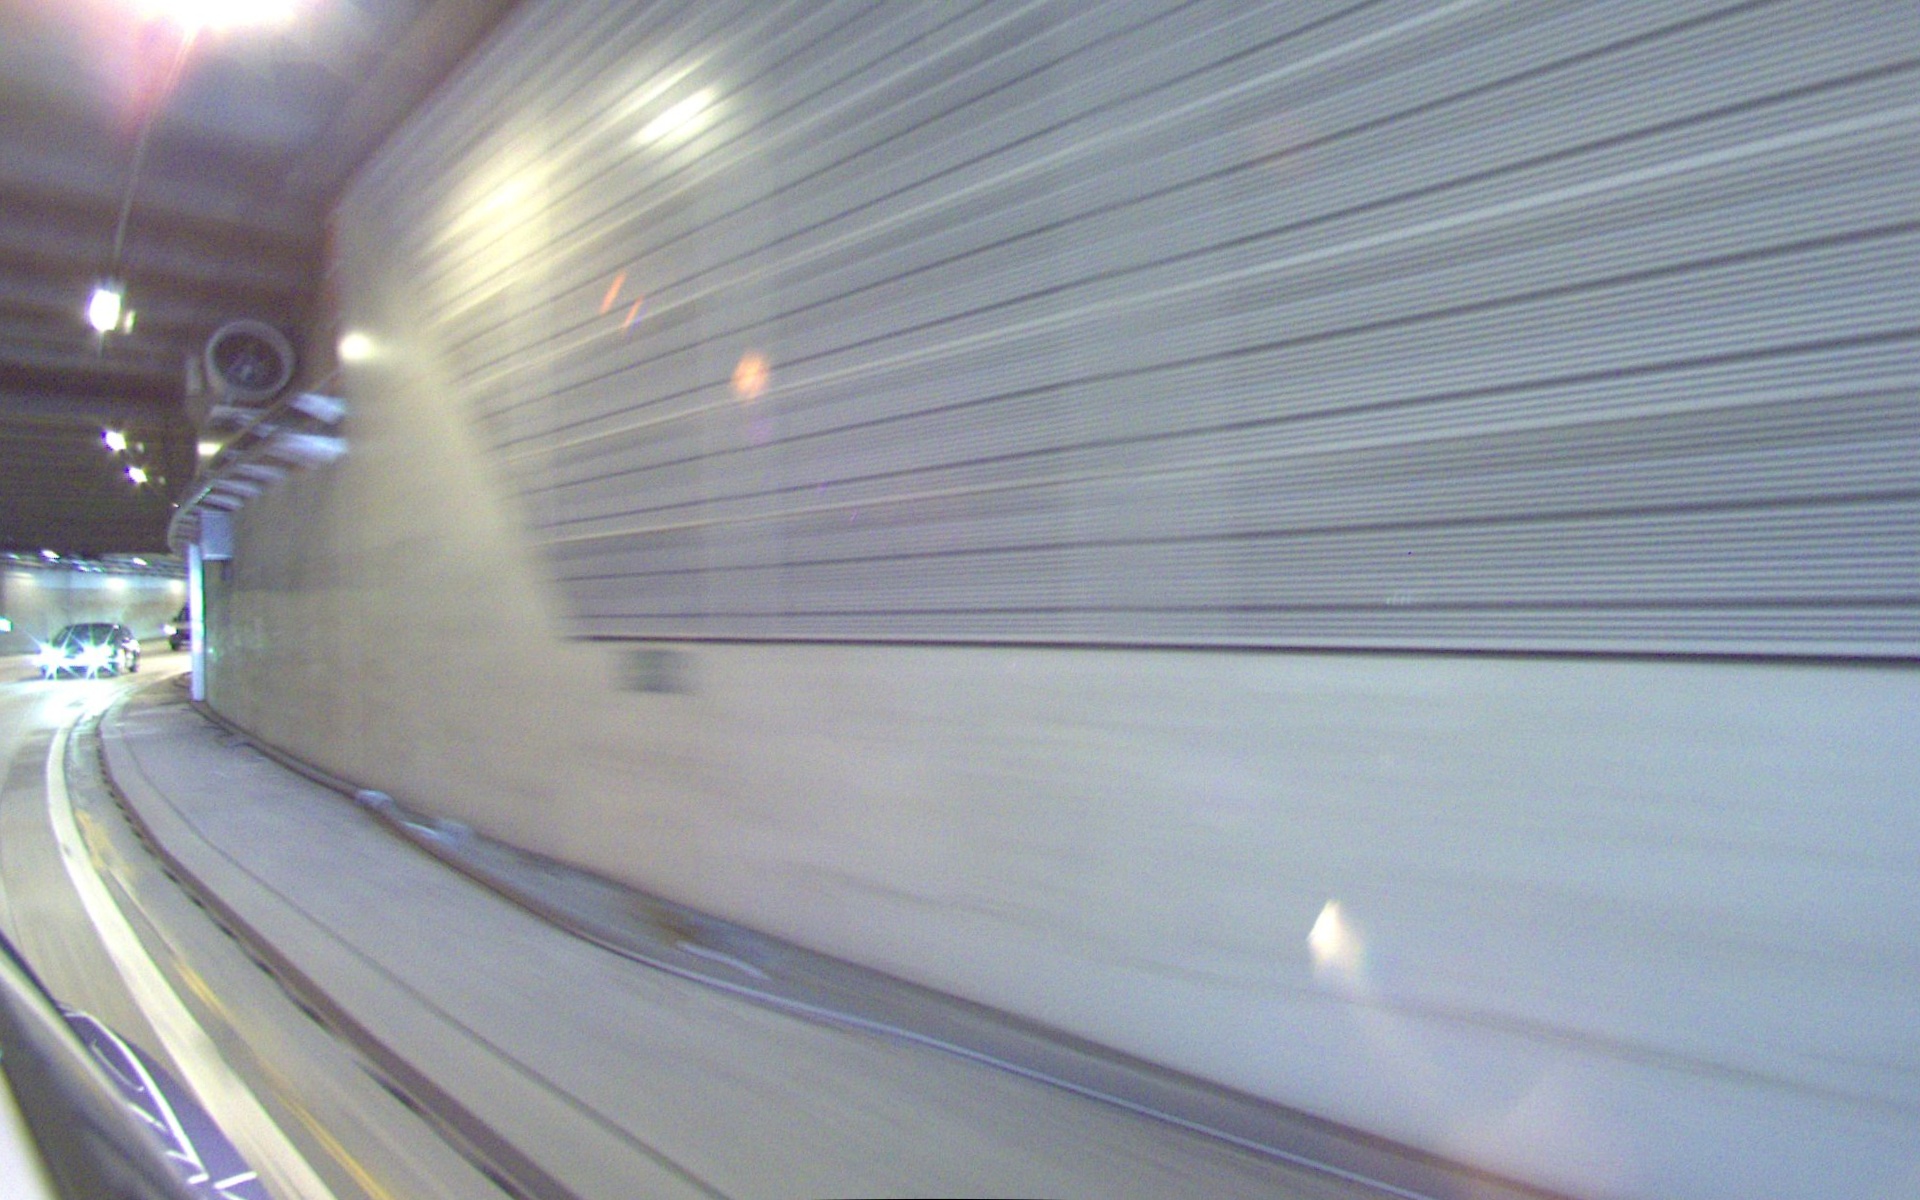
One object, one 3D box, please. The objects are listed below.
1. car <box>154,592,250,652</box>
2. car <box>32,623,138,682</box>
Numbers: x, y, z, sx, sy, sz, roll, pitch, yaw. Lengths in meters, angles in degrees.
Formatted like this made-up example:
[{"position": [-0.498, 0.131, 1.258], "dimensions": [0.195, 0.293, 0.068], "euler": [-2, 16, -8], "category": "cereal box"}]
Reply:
[{"position": [-38.738, 1.083, 51.948], "dimensions": [2.517, 2.789, 7.375], "euler": [-1, 0, -26], "category": "car"}, {"position": [-24.799, 1.436, 28.819], "dimensions": [1.694, 1.475, 4.011], "euler": [-1, 0, -33], "category": "car"}]
